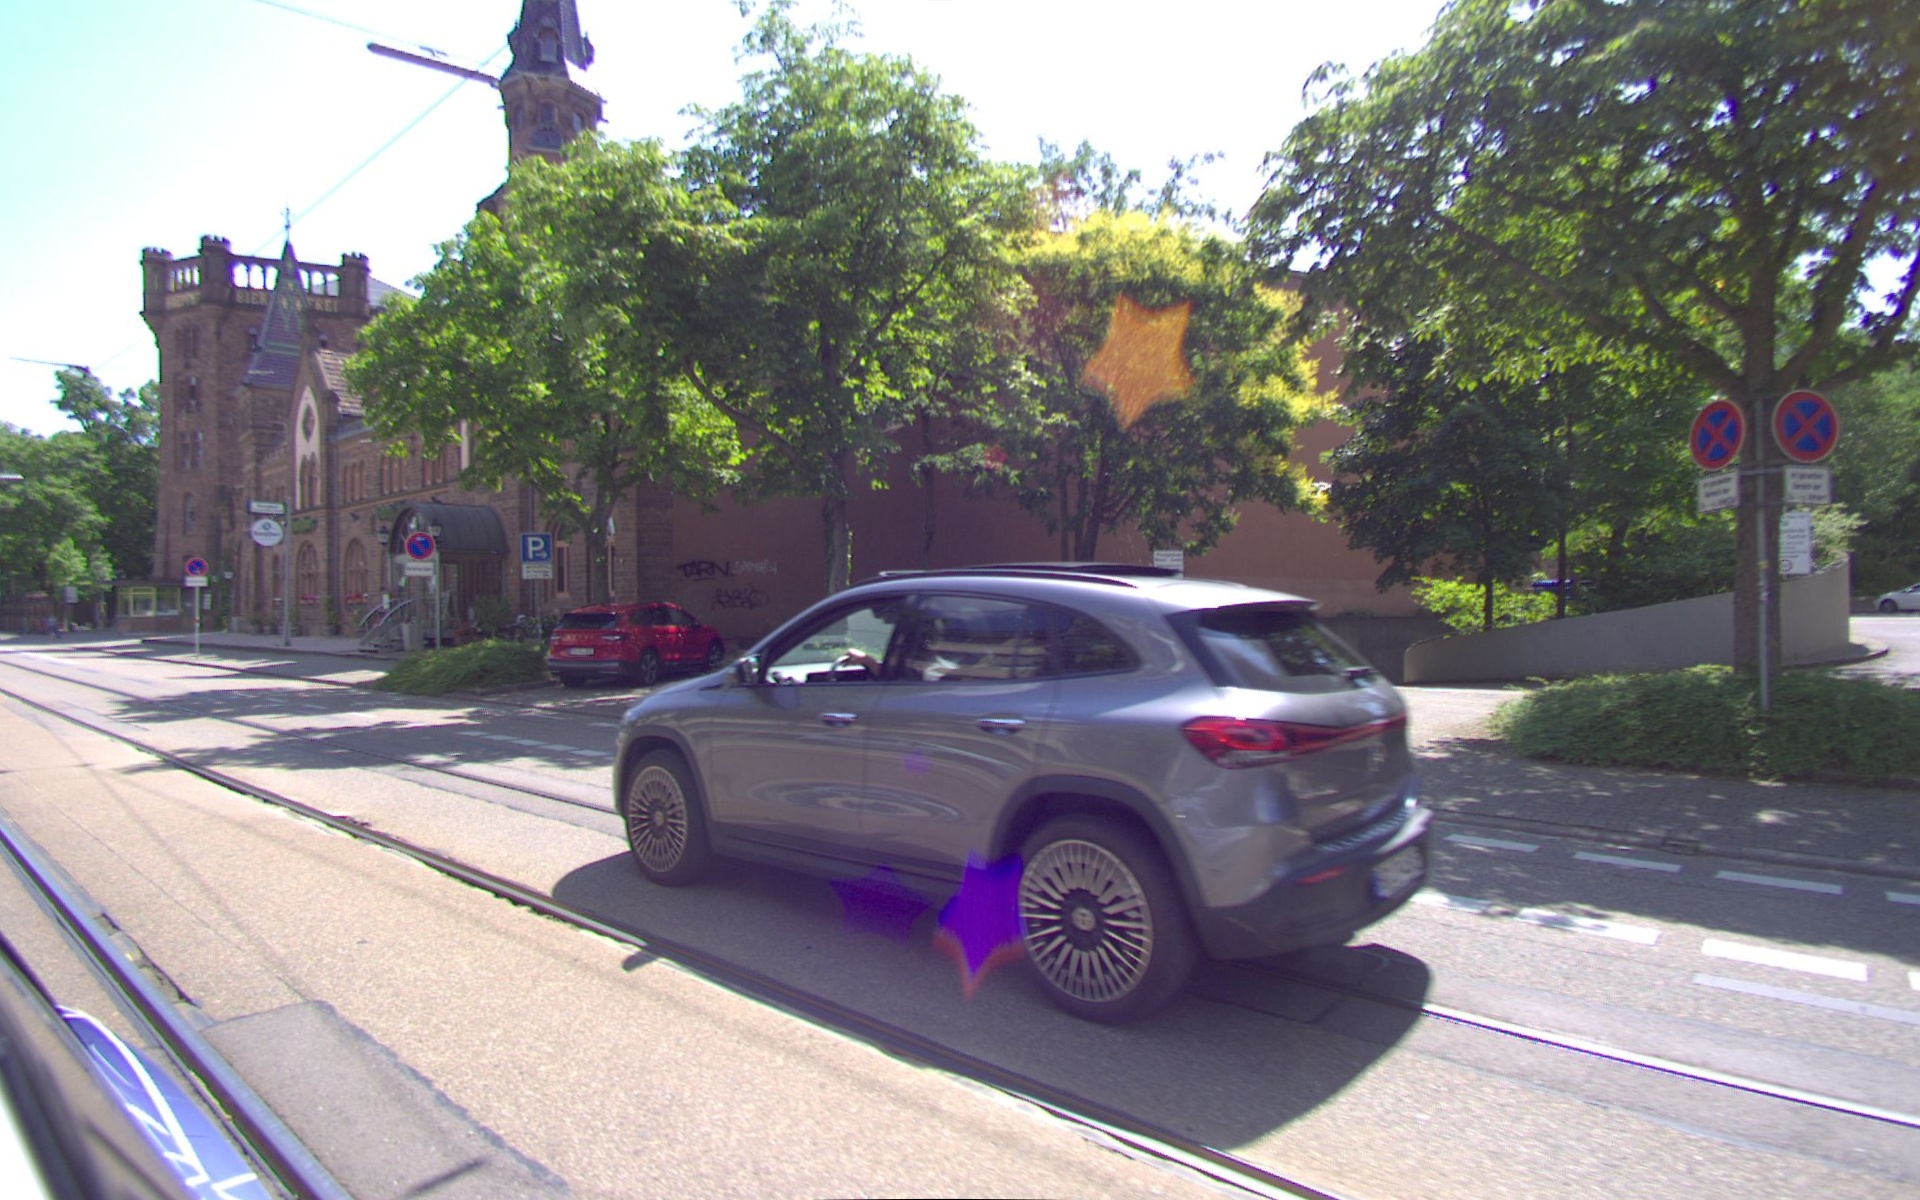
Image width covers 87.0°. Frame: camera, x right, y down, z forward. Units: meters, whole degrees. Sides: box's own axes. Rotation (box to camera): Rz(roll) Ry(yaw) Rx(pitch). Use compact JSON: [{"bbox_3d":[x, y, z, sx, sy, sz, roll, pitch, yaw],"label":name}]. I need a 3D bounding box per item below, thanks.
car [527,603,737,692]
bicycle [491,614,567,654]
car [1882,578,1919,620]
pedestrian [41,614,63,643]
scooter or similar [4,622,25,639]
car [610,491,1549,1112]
[{"bbox_3d":[-6.527,0.876,20.819,1.981,1.578,4.761,-1,0,12],"label":"car"},{"bbox_3d":[-11.800,0.919,27.768,0.594,0.897,1.986,-2,4,24],"label":"bicycle"},{"bbox_3d":[42.748,-0.054,43.643,1.966,1.796,4.011,-2,0,-33],"label":"car"},{"bbox_3d":[-53.800,1.687,59.947,0.919,1.600,0.791,-1,2,41],"label":"pedestrian"},{"bbox_3d":[-64.603,2.086,69.125,0.343,1.135,1.227,-2,2,-6],"label":"scooter or similar"},{"bbox_3d":[0.242,0.585,4.841,4.182,1.693,1.812,-1,-1,41],"label":"car"}]
